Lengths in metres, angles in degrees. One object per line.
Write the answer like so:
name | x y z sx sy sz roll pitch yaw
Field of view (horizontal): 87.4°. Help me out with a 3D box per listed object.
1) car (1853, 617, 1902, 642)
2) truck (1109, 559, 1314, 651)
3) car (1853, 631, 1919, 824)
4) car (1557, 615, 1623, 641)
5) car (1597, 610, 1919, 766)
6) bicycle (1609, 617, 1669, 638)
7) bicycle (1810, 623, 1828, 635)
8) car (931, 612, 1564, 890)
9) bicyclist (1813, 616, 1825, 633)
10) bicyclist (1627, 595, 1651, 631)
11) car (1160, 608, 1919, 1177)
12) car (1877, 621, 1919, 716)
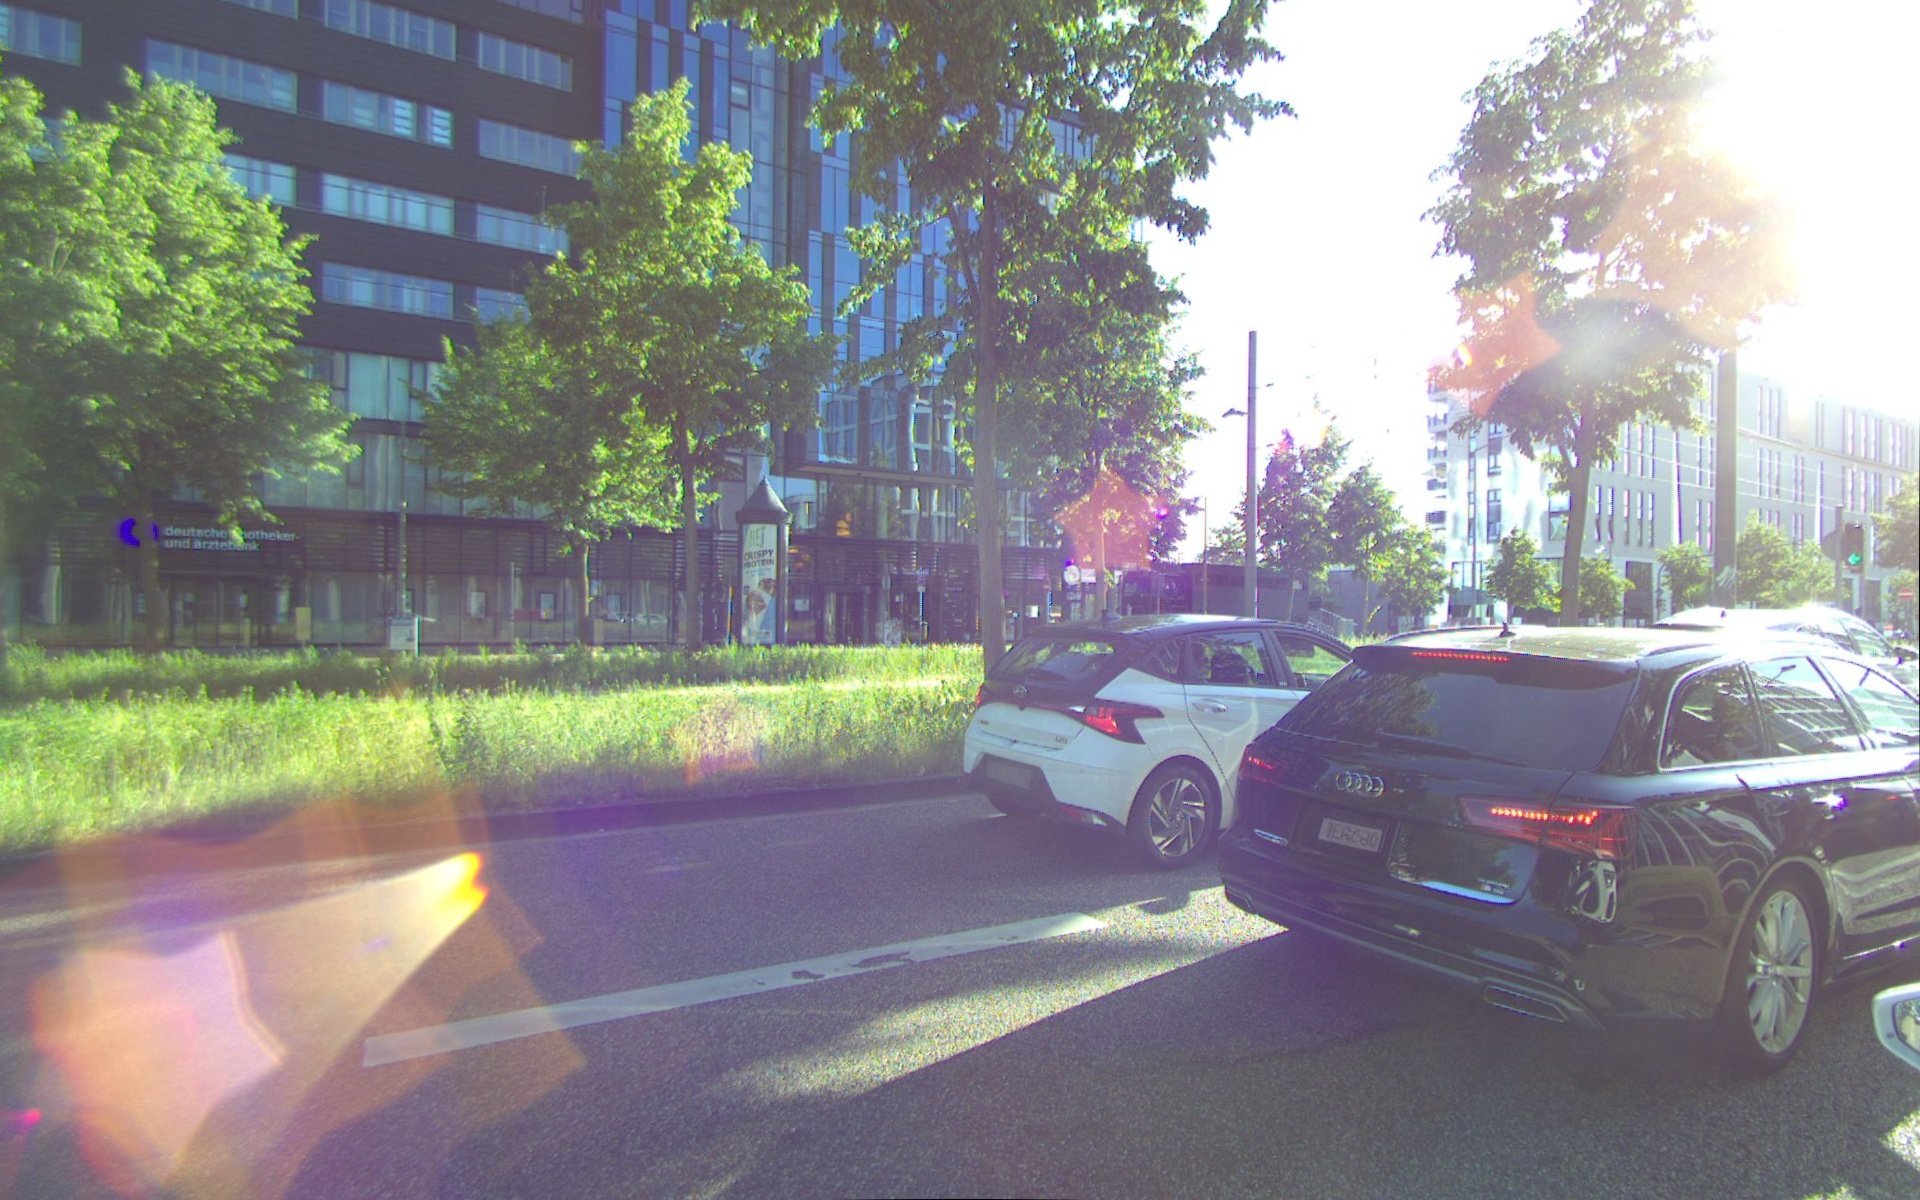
car | 78.190 2.510 85.593 3.953 2.040 1.984 1 -1 -30
truck | 11.789 0.315 46.559 10.094 3.904 2.877 1 -1 -31
car | 9.333 1.004 8.200 4.288 1.445 1.833 1 -1 -30
car | 37.625 1.662 59.968 3.953 1.540 1.756 1 -1 -30
car | 9.561 0.894 11.769 4.519 1.467 1.789 1 1 -33
bicycle | 40.689 1.630 60.232 0.808 1.206 2.927 1 -1 -31
bicycle | 78.785 2.664 92.097 1.933 1.001 0.673 1 -1 -31
car | 2.195 0.849 7.247 4.515 1.467 1.790 1 -1 -30
bicyclist | 78.776 2.266 92.097 0.706 1.549 0.674 1 -1 -30
bicyclist | 40.705 0.783 60.250 0.808 2.120 0.935 1 -1 -31
car | 3.418 0.826 4.758 4.911 1.504 1.864 1 -1 -32
car | 17.529 1.181 17.024 4.519 1.503 1.788 1 3 -33
